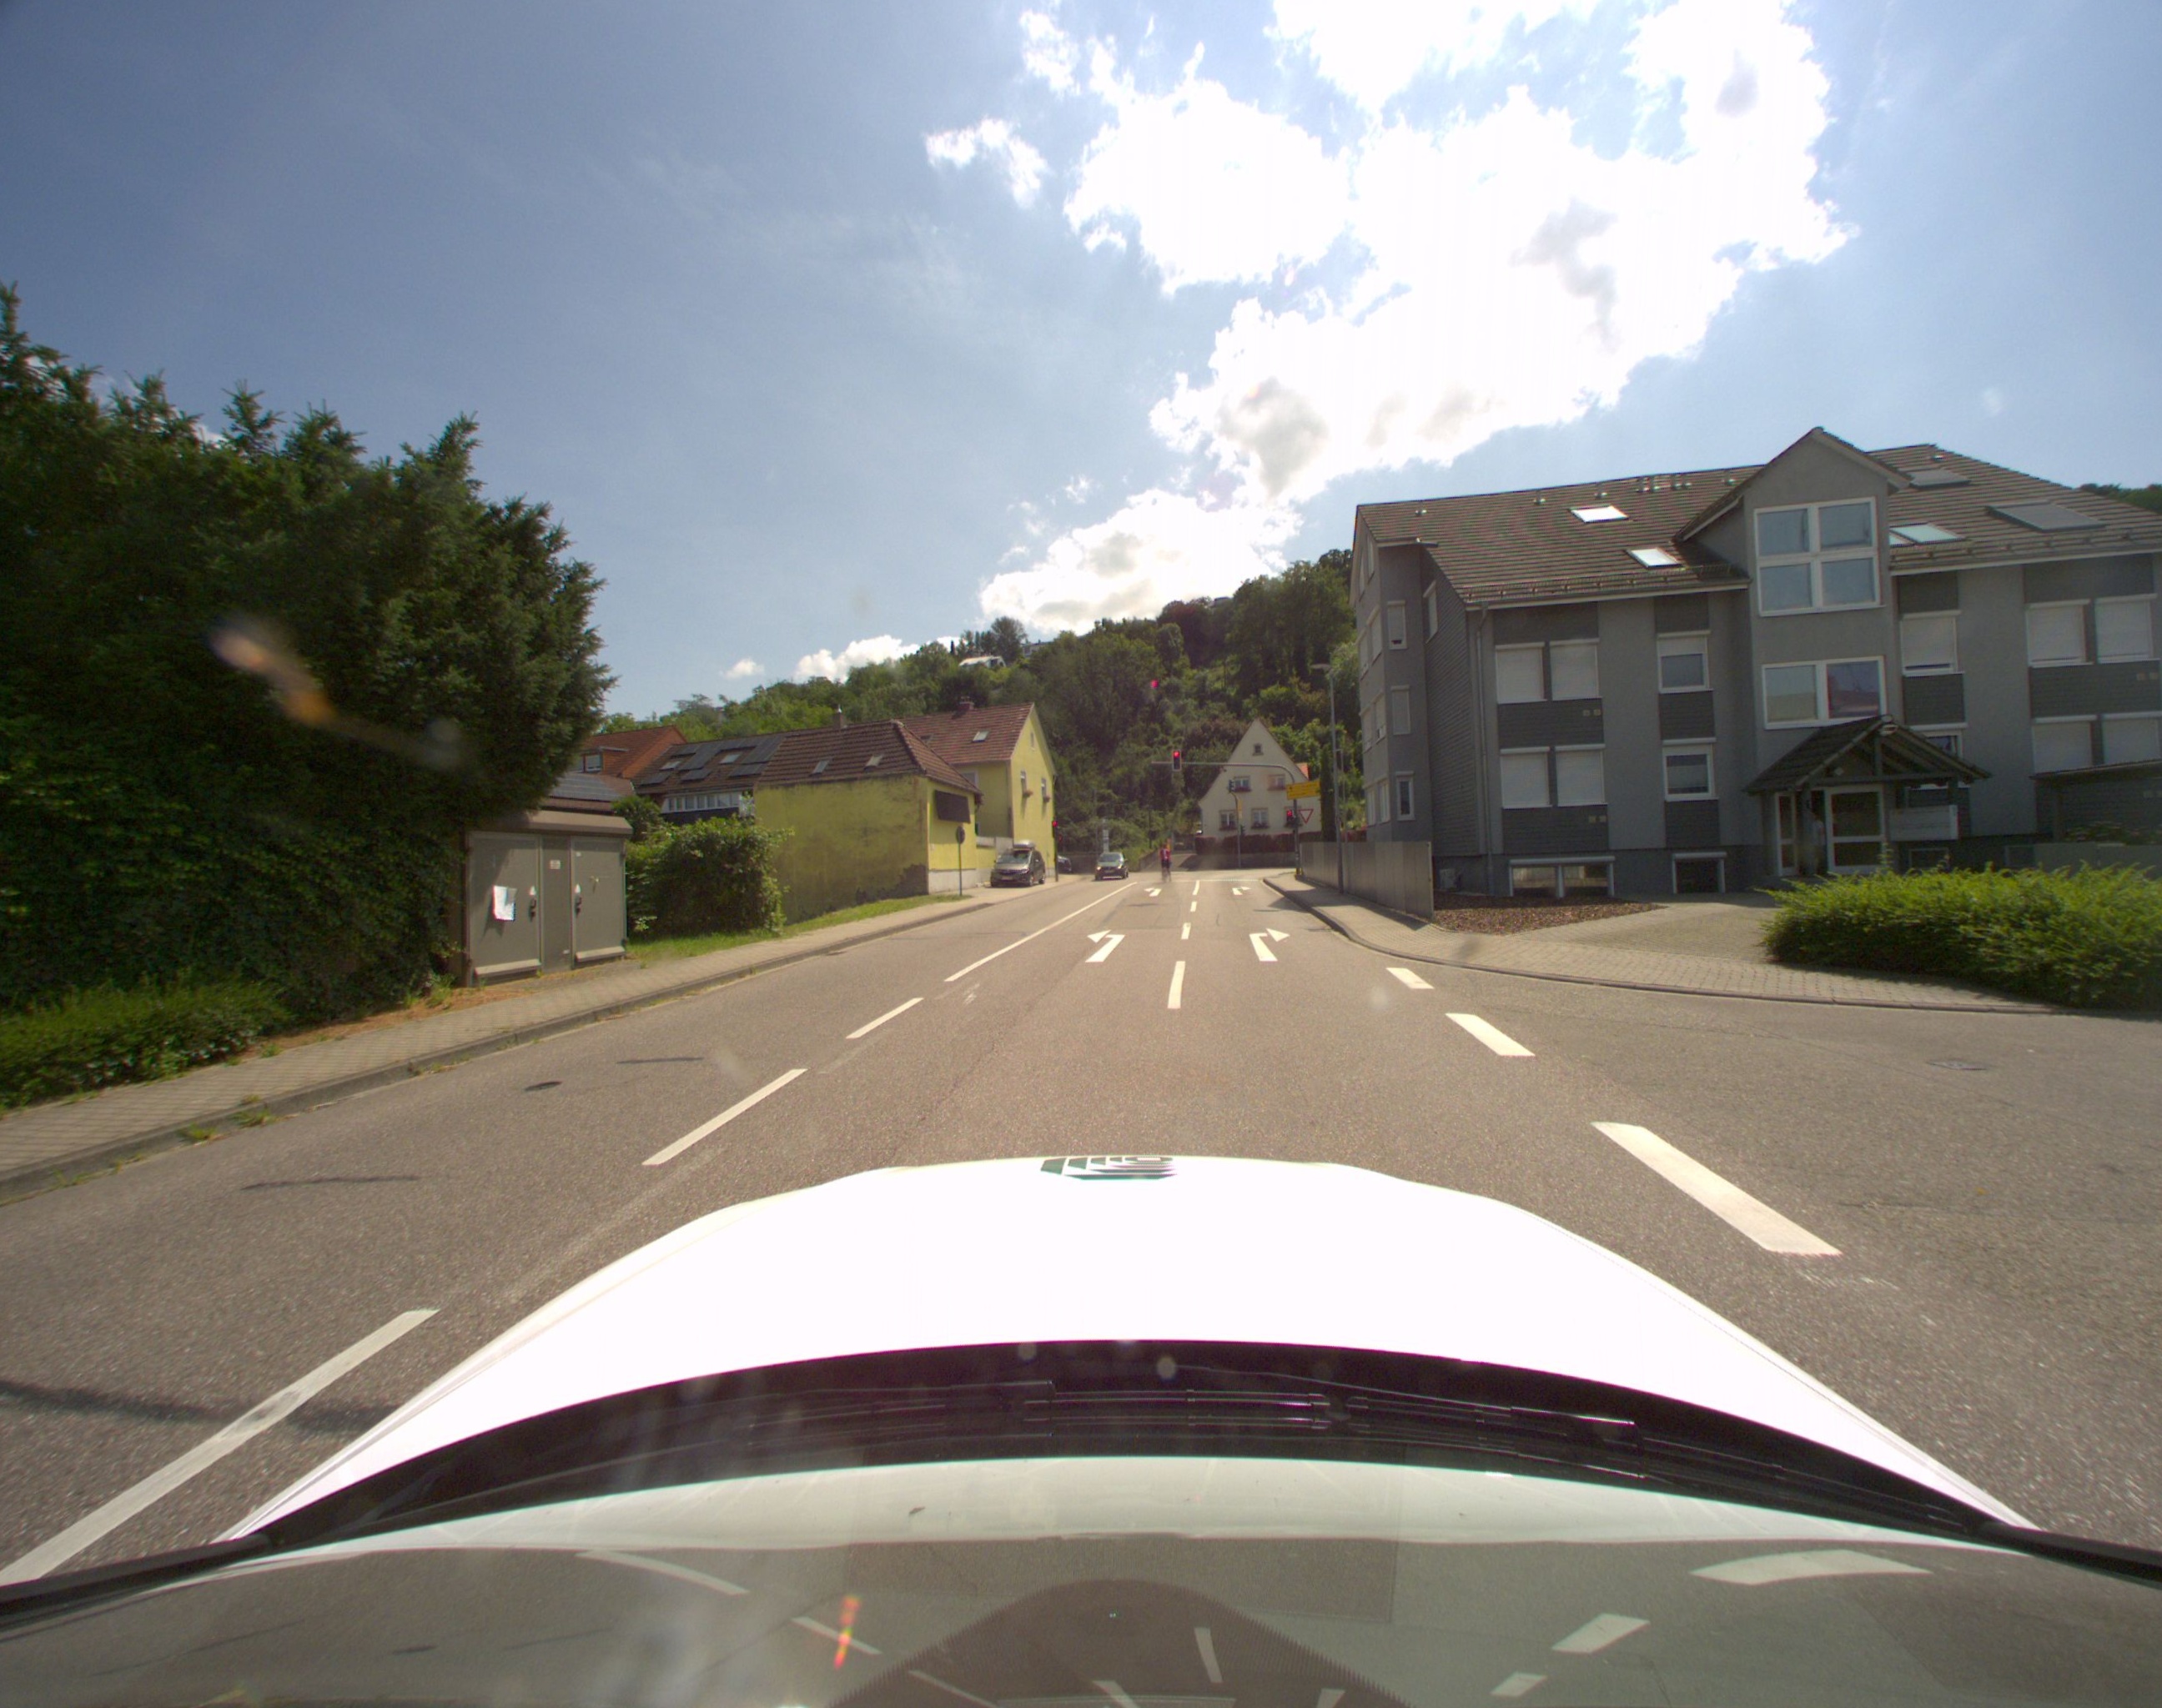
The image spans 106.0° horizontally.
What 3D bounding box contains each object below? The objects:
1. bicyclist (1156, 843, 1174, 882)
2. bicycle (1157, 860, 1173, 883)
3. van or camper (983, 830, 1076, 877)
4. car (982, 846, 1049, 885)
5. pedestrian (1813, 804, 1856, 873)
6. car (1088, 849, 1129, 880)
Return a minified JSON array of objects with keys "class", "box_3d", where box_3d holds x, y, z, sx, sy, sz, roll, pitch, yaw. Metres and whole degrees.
[{"class":"bicyclist","box_3d":[3.622,0.352,35.012,0.757,1.664,0.870,-1,0,6]},{"class":"bicycle","box_3d":[3.602,0.744,34.945,0.627,0.905,1.659,-1,0,5]},{"class":"van or camper","box_3d":[-3.576,-0.014,56.933,5.947,3.004,2.228,-2,0,16]},{"class":"car","box_3d":[-2.889,0.479,36.958,1.982,1.635,4.641,-1,0,8]},{"class":"pedestrian","box_3d":[17.129,-0.359,18.521,0.479,1.529,0.537,-2,0,9]},{"class":"car","box_3d":[1.476,0.502,42.582,1.771,1.433,3.879,-4,0,6]}]
